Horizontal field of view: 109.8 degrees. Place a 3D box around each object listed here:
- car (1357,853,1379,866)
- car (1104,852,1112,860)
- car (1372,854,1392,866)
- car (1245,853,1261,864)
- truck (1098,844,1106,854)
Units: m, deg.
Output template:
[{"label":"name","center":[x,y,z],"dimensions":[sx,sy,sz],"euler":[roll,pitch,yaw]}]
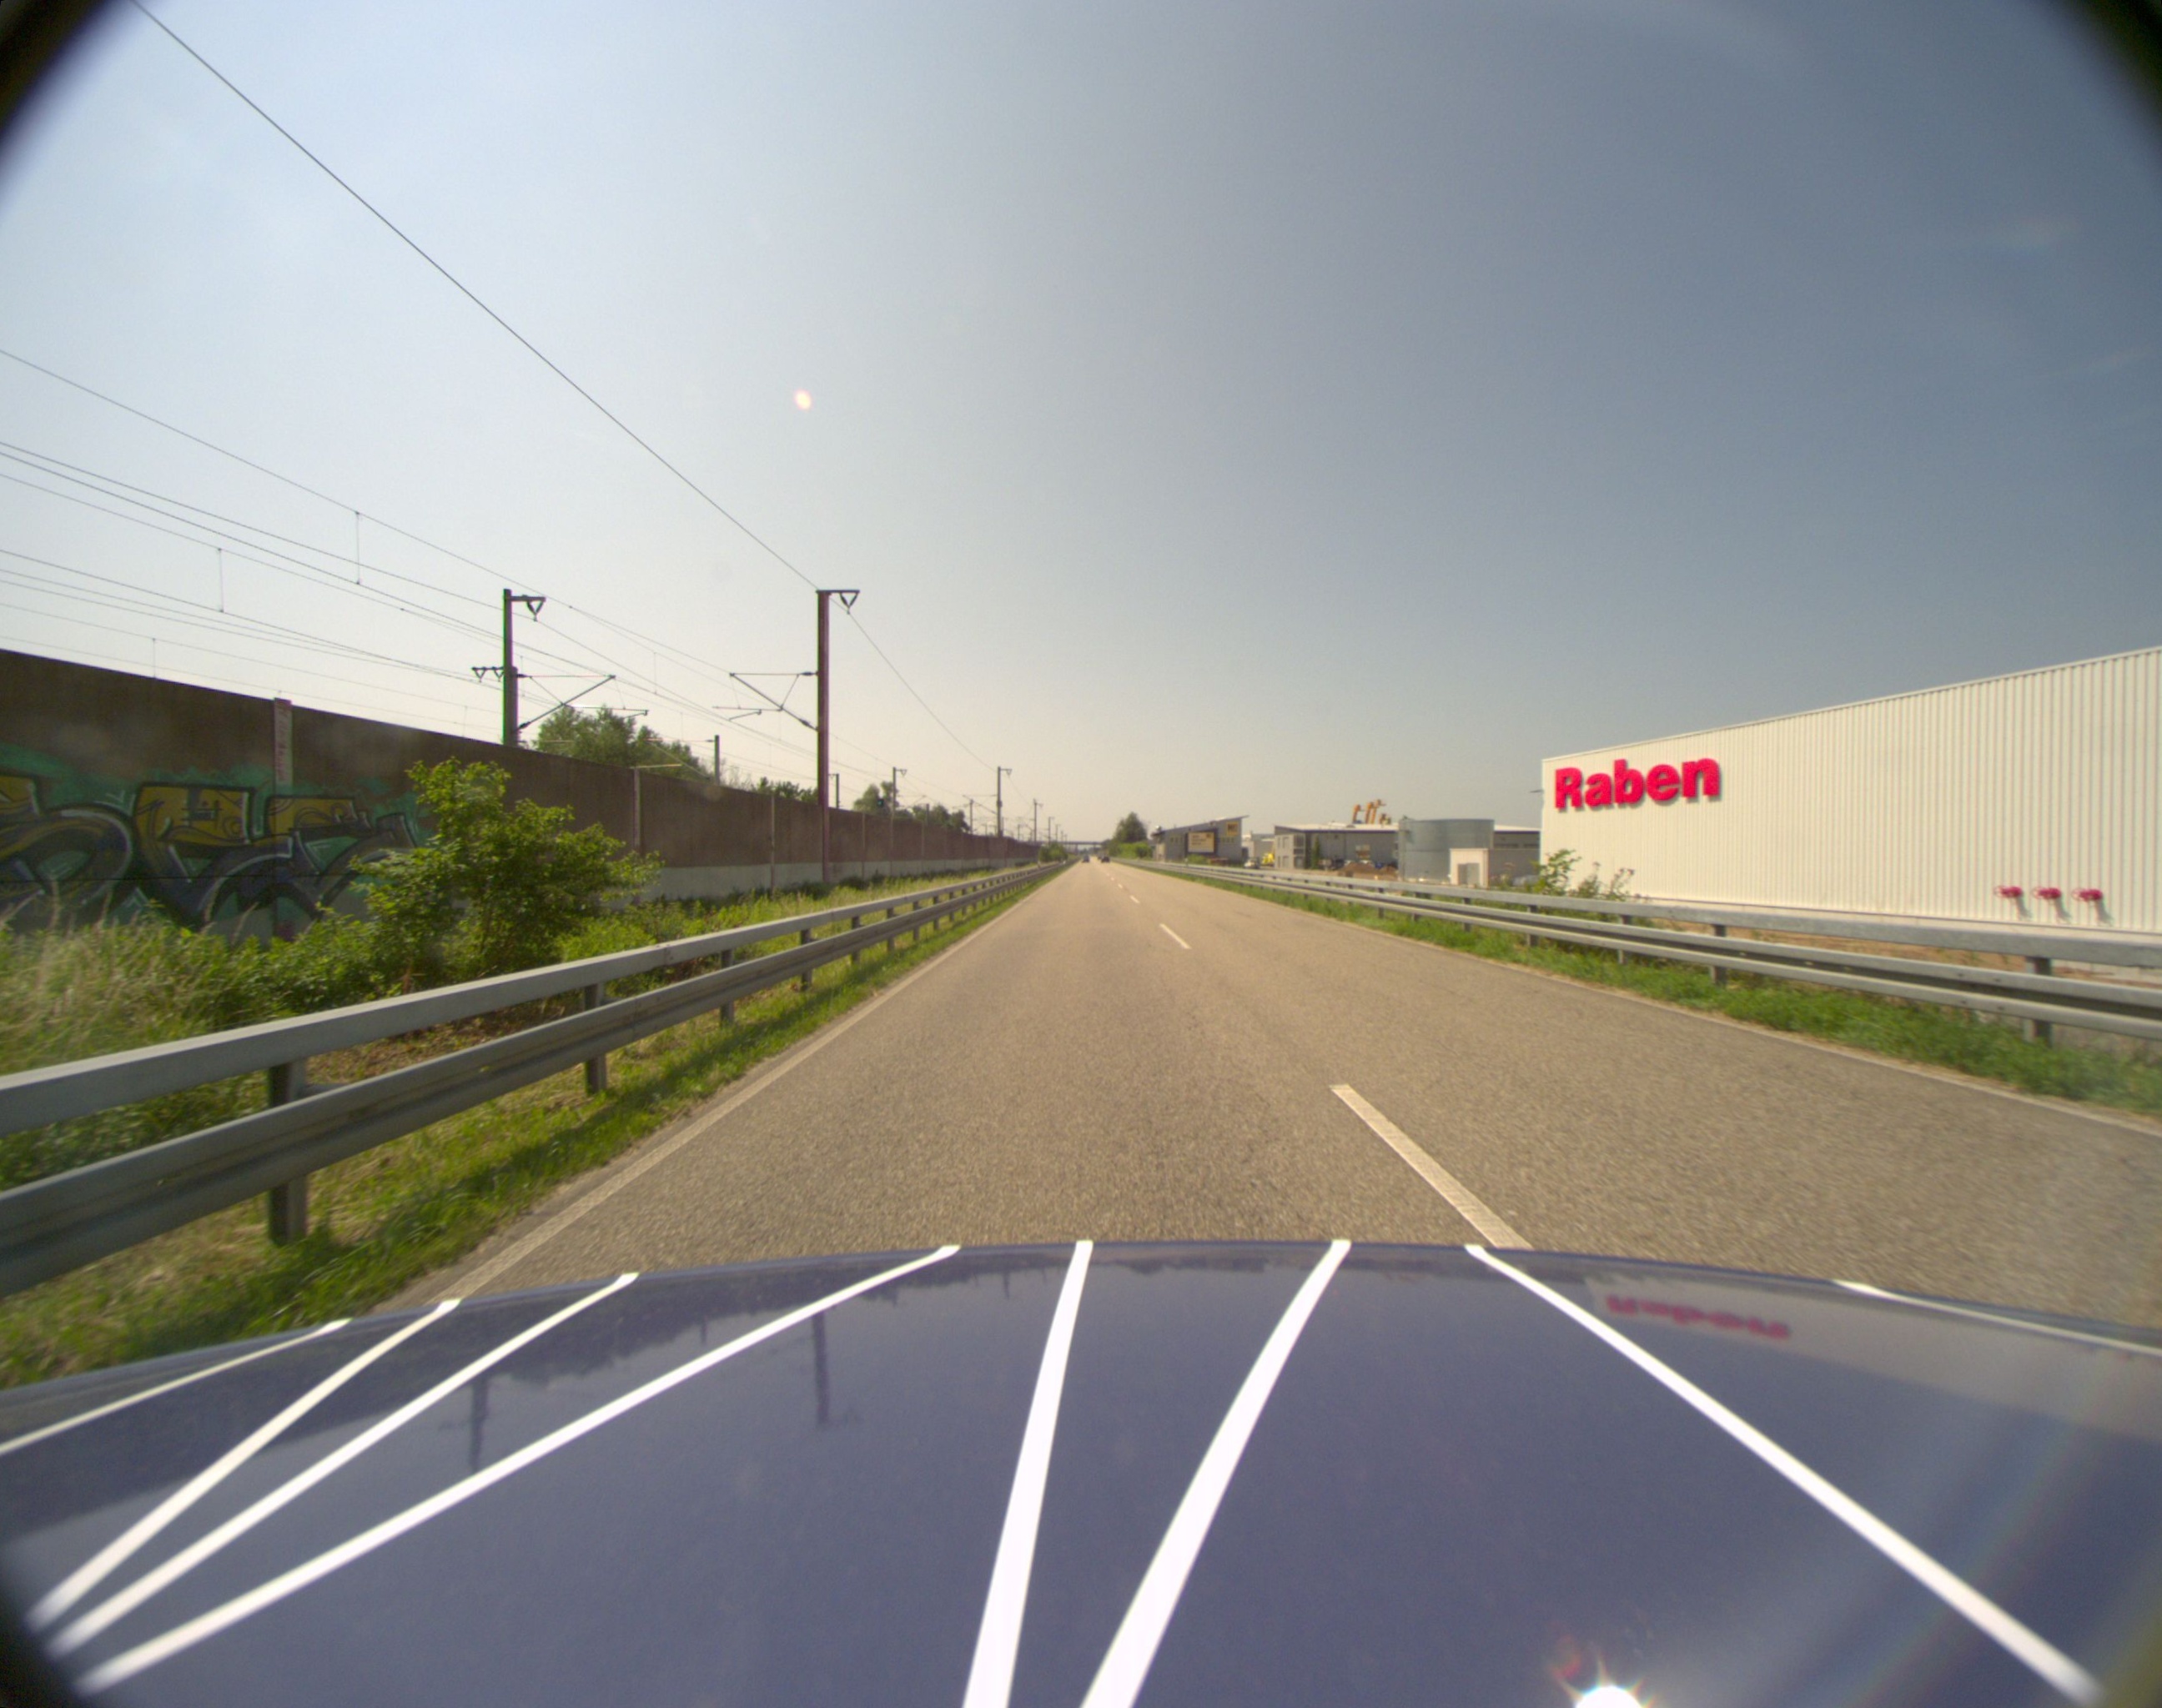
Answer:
[{"label":"car","center":[45.639,0.855,121.010],"dimensions":[1.999,2.002,3.999],"euler":[-1,1,-1]},{"label":"car","center":[5.617,0.413,157.111],"dimensions":[1.544,1.427,3.654],"euler":[-2,0,0]},{"label":"car","center":[48.119,0.983,121.495],"dimensions":[1.834,1.889,3.689],"euler":[2,0,1]},{"label":"car","center":[27.235,0.756,120.535],"dimensions":[1.555,1.664,3.311],"euler":[0,1,-5]},{"label":"truck","center":[6.464,-1.573,234.939],"dimensions":[2.242,2.950,6.317],"euler":[-2,1,-1]}]
